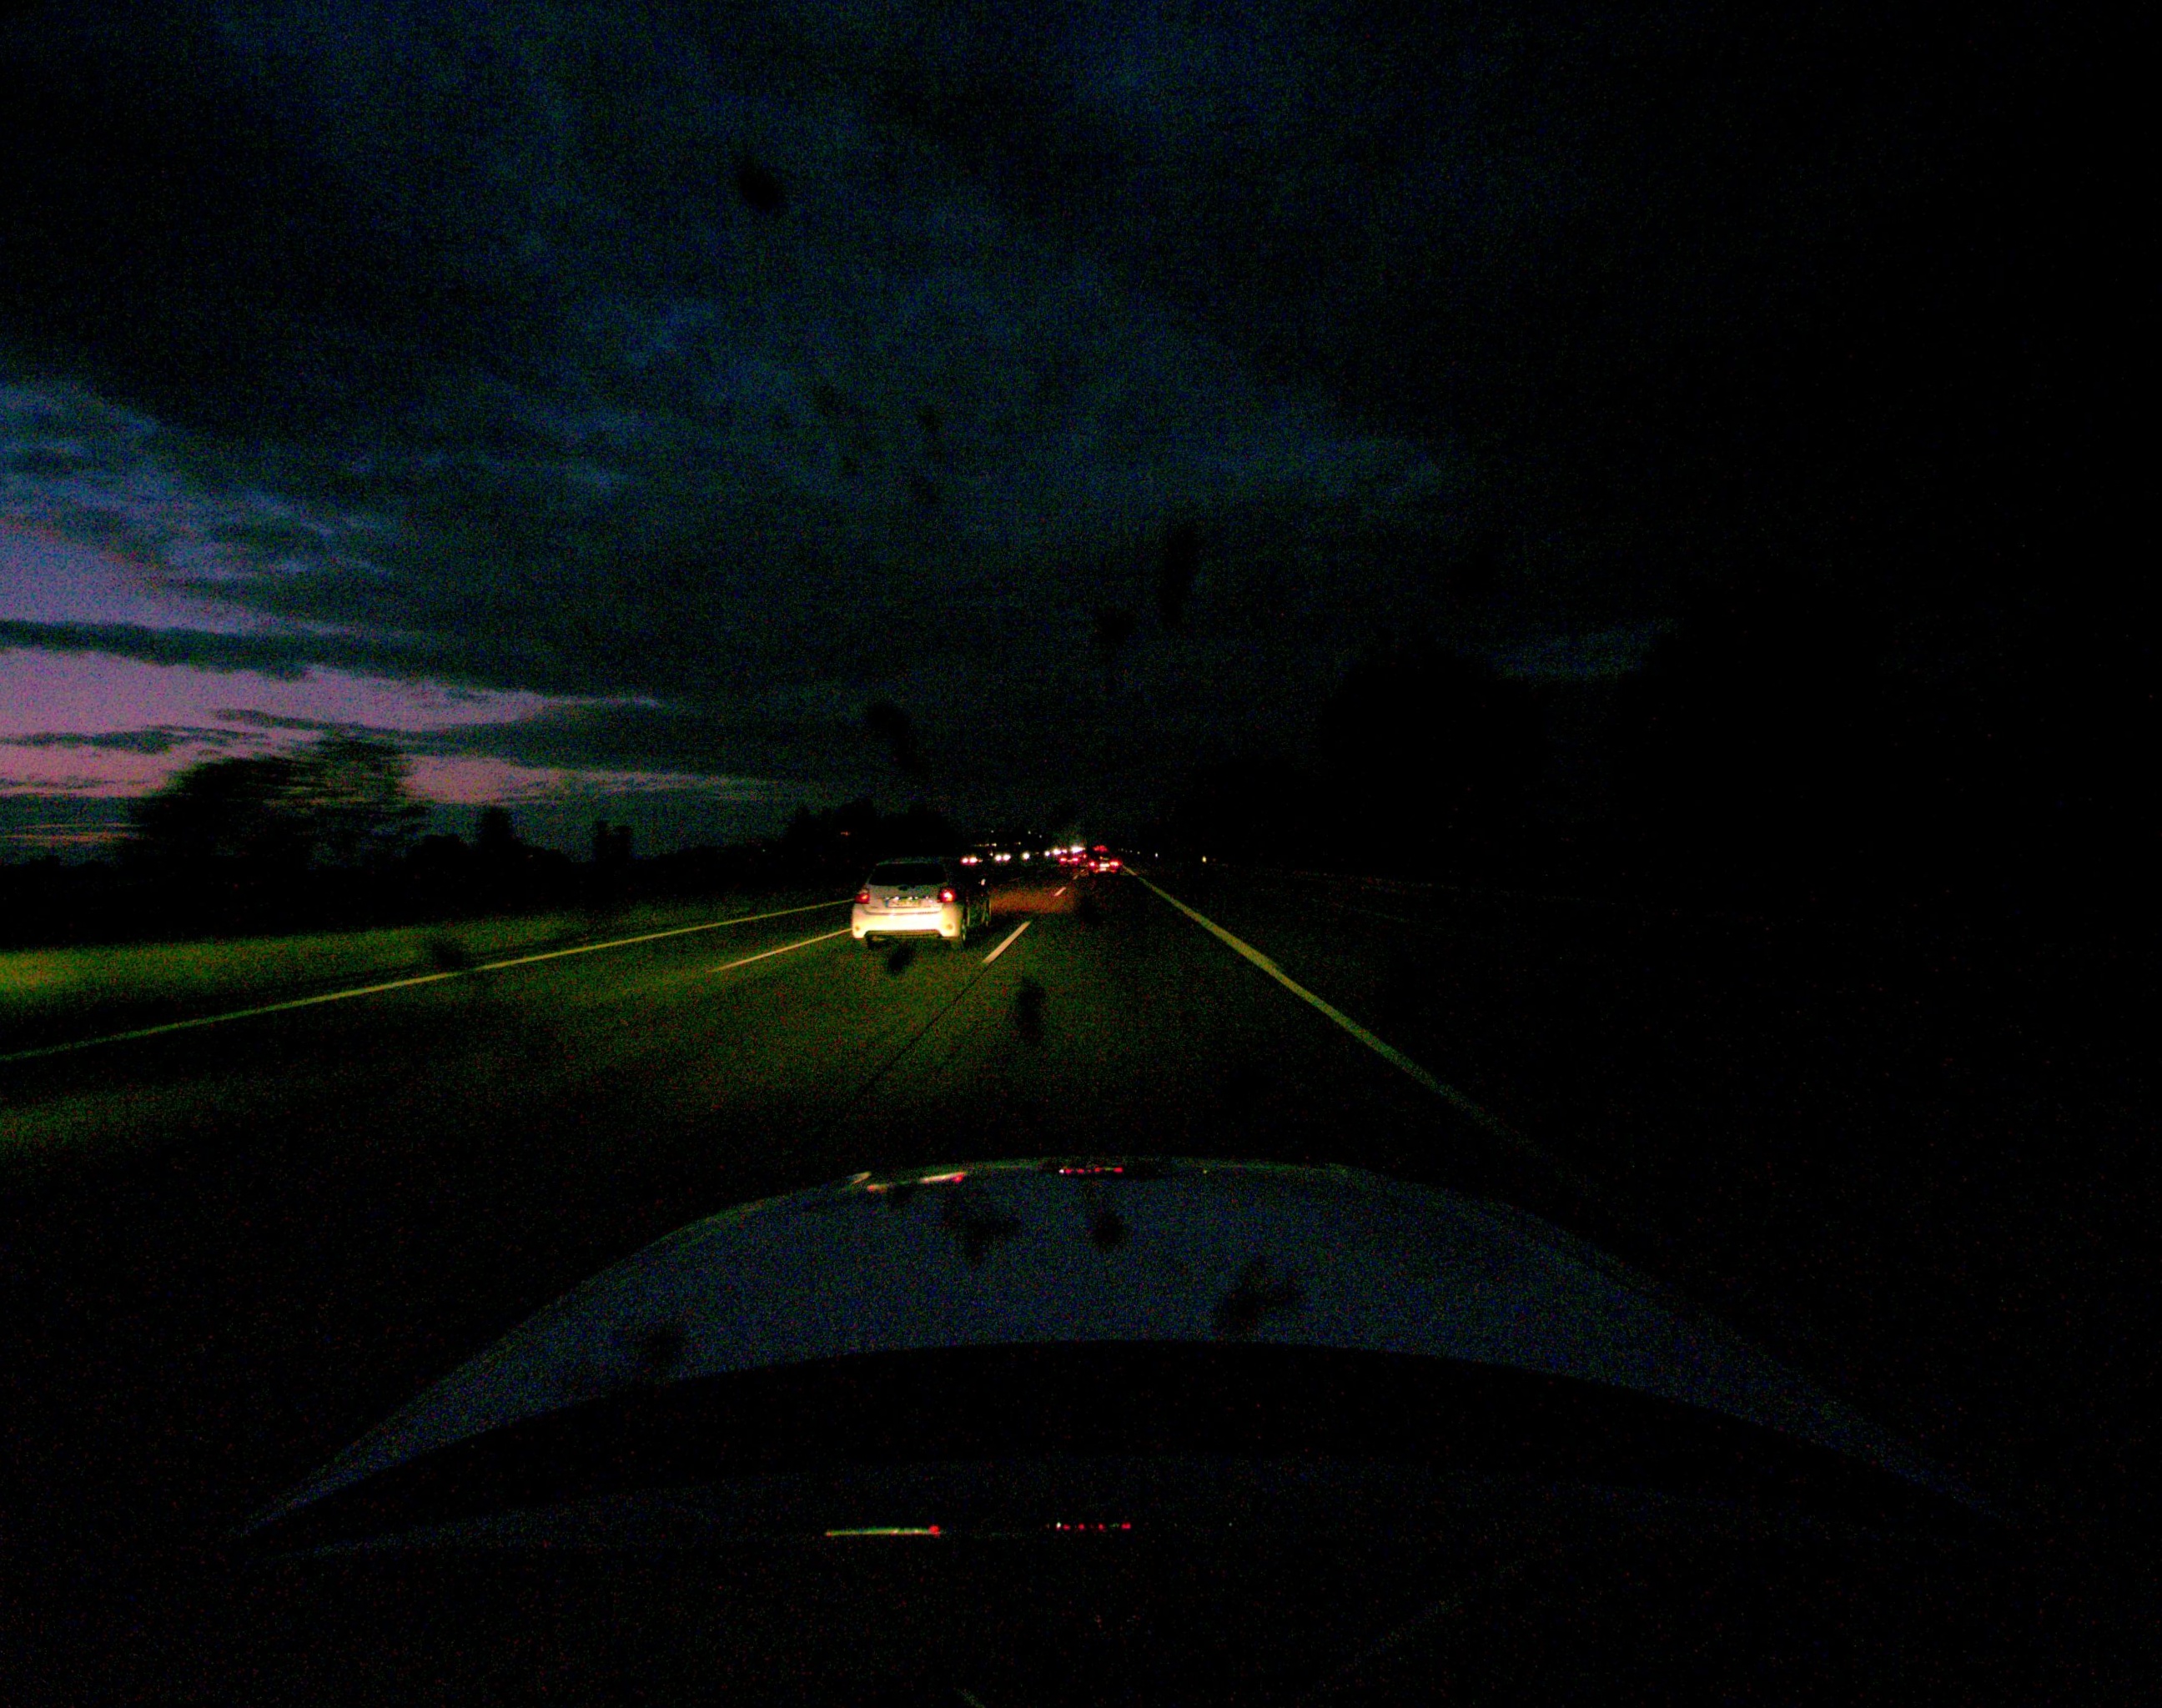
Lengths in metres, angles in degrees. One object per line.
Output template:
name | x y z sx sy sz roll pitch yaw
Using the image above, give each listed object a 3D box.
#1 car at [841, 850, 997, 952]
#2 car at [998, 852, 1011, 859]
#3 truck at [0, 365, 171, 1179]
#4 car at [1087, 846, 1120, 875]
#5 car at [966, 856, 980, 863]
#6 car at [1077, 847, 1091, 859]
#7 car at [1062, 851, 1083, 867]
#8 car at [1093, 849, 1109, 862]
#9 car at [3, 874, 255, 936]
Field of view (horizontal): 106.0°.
car | -2.670 0.715 14.454 1.738 1.525 4.416 0 0 2
car | -14.374 0.312 153.873 1.924 1.178 4.001 0 0 1
truck | -6.875 -0.397 1.763 2.767 4.092 6.105 -2 0 2
car | 1.357 0.388 48.710 1.873 1.643 4.001 0 0 1
car | -18.544 1.008 139.688 1.712 1.178 4.001 0 0 1
car | 0.491 -0.225 130.462 2.191 1.879 4.001 0 0 1
car | -0.779 0.482 78.640 1.874 1.552 4.000 0 0 1
car | 2.460 0.228 99.800 1.874 1.552 4.000 0 0 1
car | -21.807 1.118 18.887 1.531 1.191 3.611 0 0 2
